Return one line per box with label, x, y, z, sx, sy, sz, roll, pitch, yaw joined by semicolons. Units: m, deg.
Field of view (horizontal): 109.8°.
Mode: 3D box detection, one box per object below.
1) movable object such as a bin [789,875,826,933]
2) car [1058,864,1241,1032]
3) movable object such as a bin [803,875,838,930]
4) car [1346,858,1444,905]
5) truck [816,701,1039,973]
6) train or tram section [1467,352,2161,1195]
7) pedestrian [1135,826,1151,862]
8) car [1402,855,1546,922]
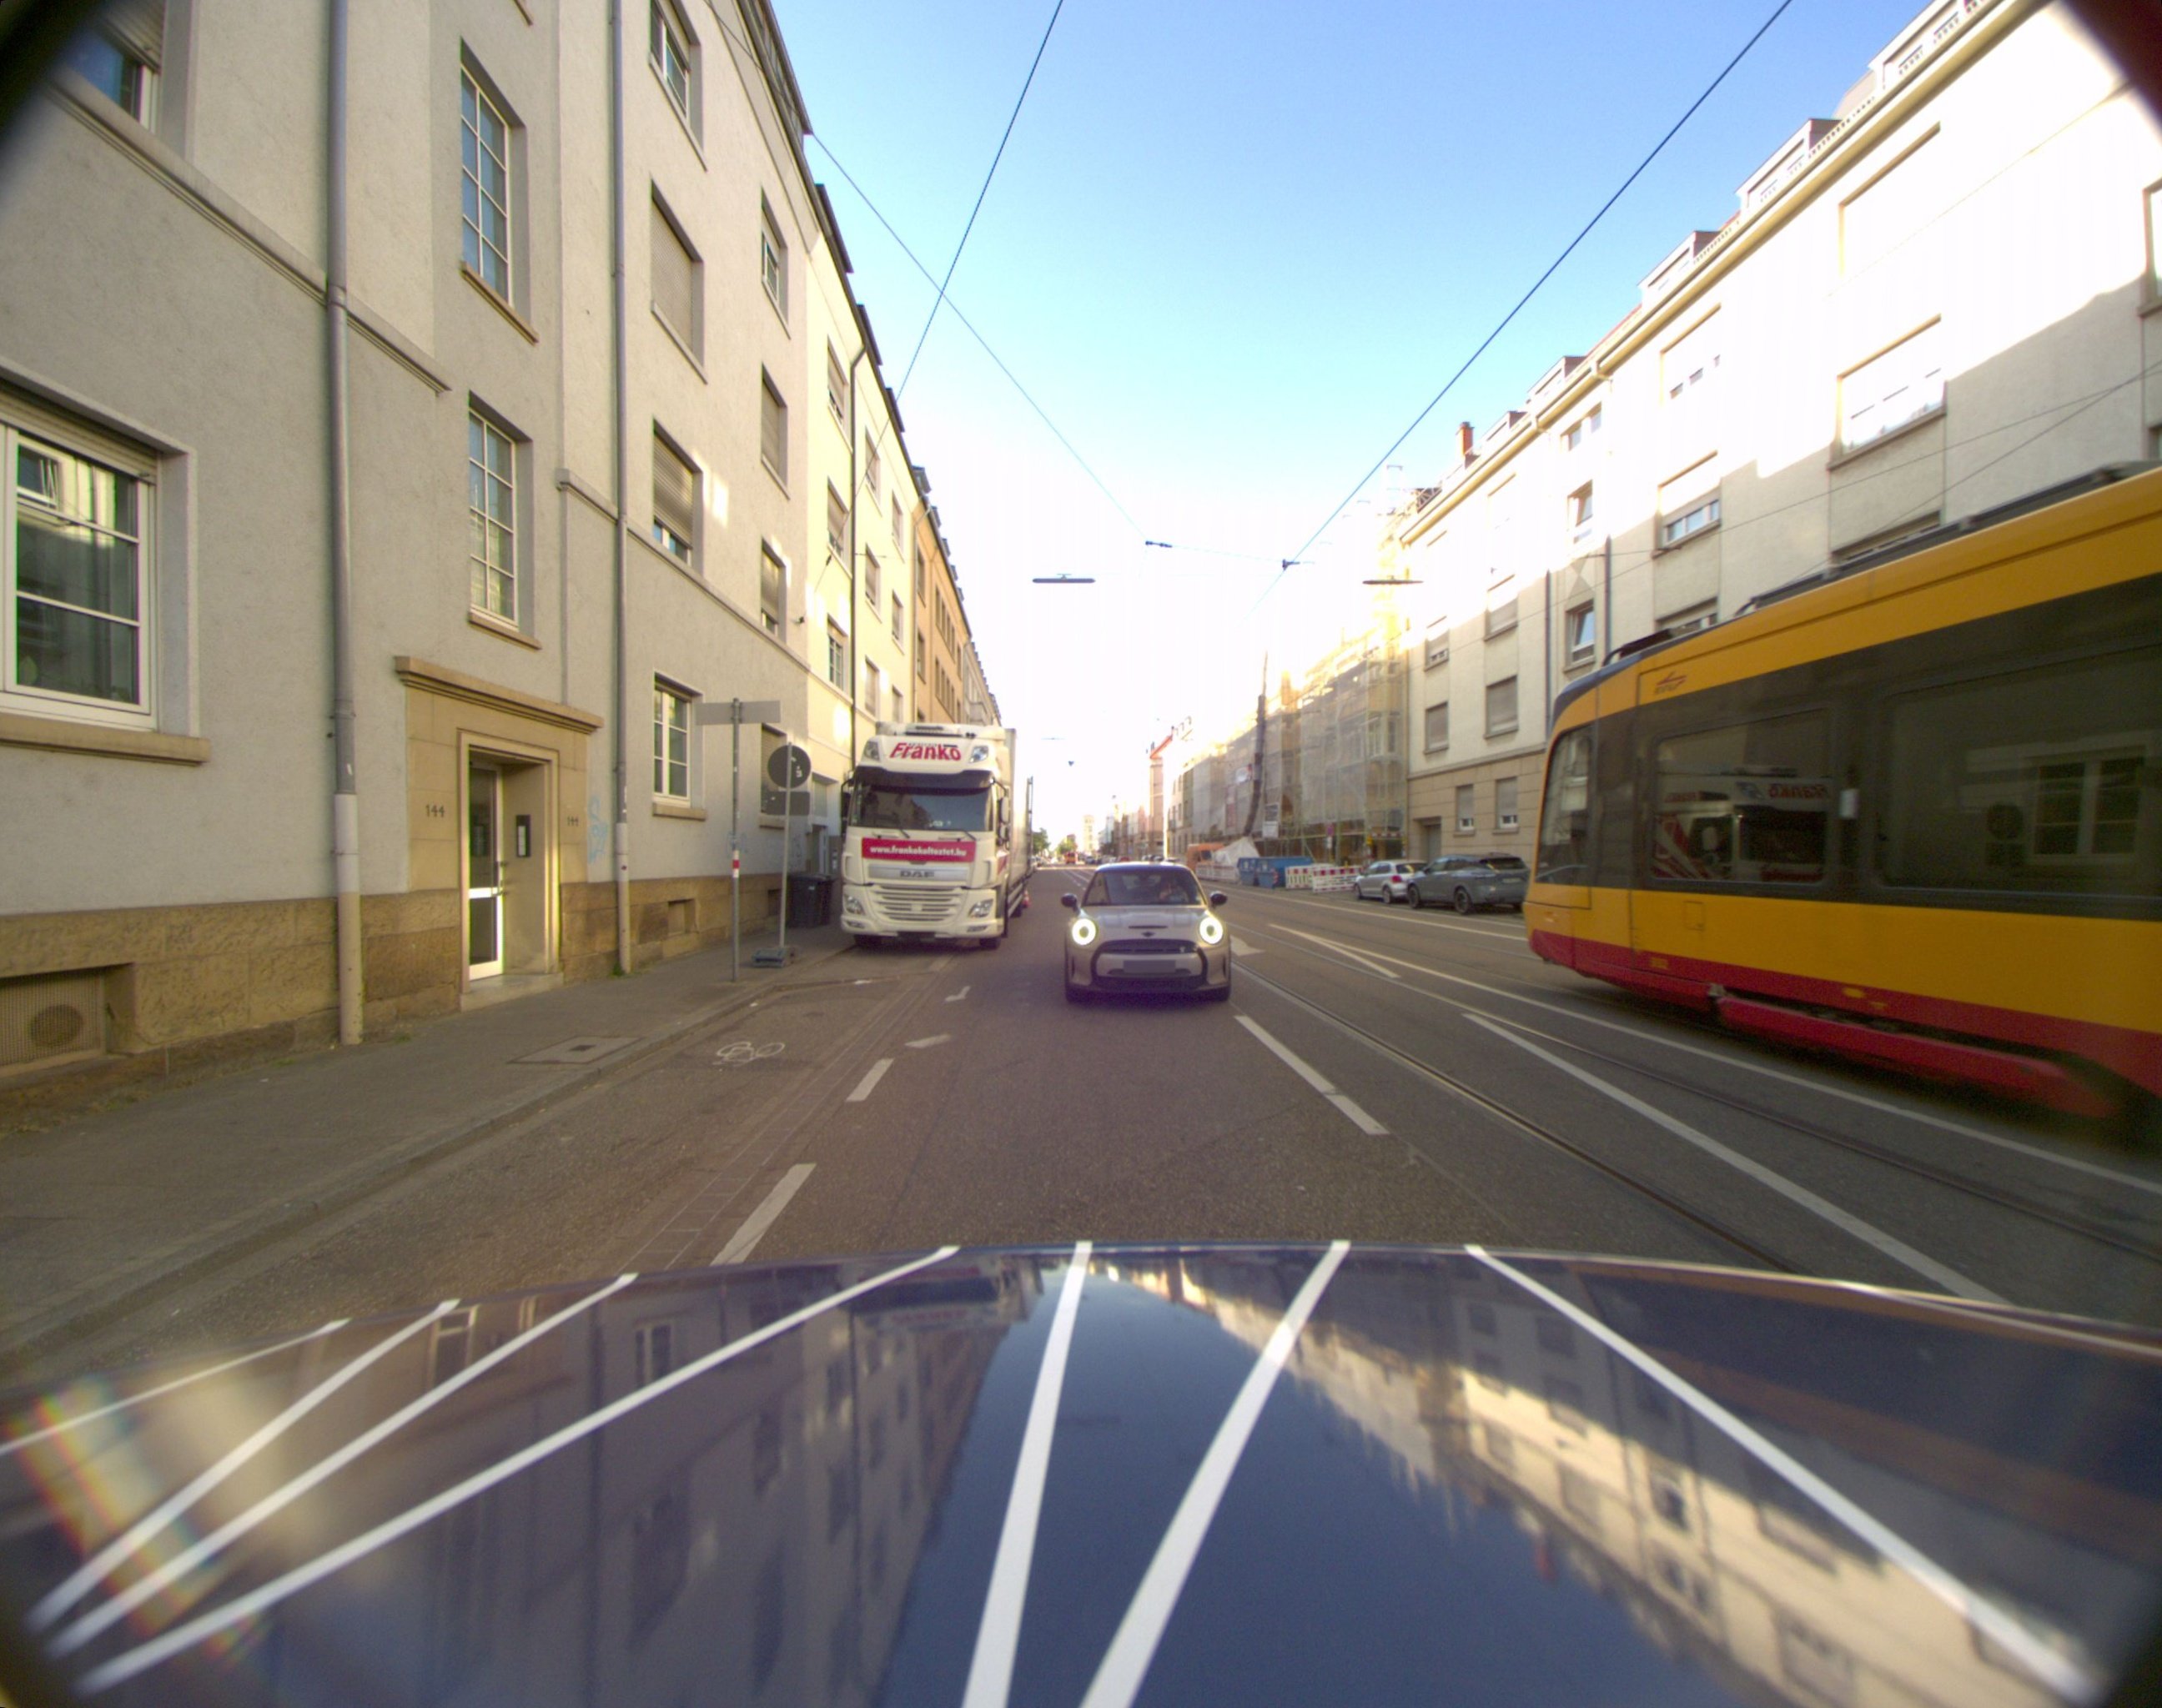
movable object such as a bin;-5.382;0.982;14.963;0.512;1.085;0.495;-2;1;-4
car;0.632;0.893;9.024;1.692;1.495;4.000;0;0;0
movable object such as a bin;-5.347;0.984;15.618;0.512;1.085;0.495;-2;1;-4
car;10.589;0.878;25.890;1.637;1.383;3.643;-2;1;-3
truck;-2.600;-0.245;17.168;2.899;3.939;11.704;-2;0;-2
train or tram section;6.135;-0.325;2.369;3.070;3.573;12.627;1;0;-2
pedestrian;7.665;-1.266;94.250;1.723;4.377;1.153;-2;1;2
car;10.813;0.873;21.269;1.712;1.582;4.112;-2;1;-3
